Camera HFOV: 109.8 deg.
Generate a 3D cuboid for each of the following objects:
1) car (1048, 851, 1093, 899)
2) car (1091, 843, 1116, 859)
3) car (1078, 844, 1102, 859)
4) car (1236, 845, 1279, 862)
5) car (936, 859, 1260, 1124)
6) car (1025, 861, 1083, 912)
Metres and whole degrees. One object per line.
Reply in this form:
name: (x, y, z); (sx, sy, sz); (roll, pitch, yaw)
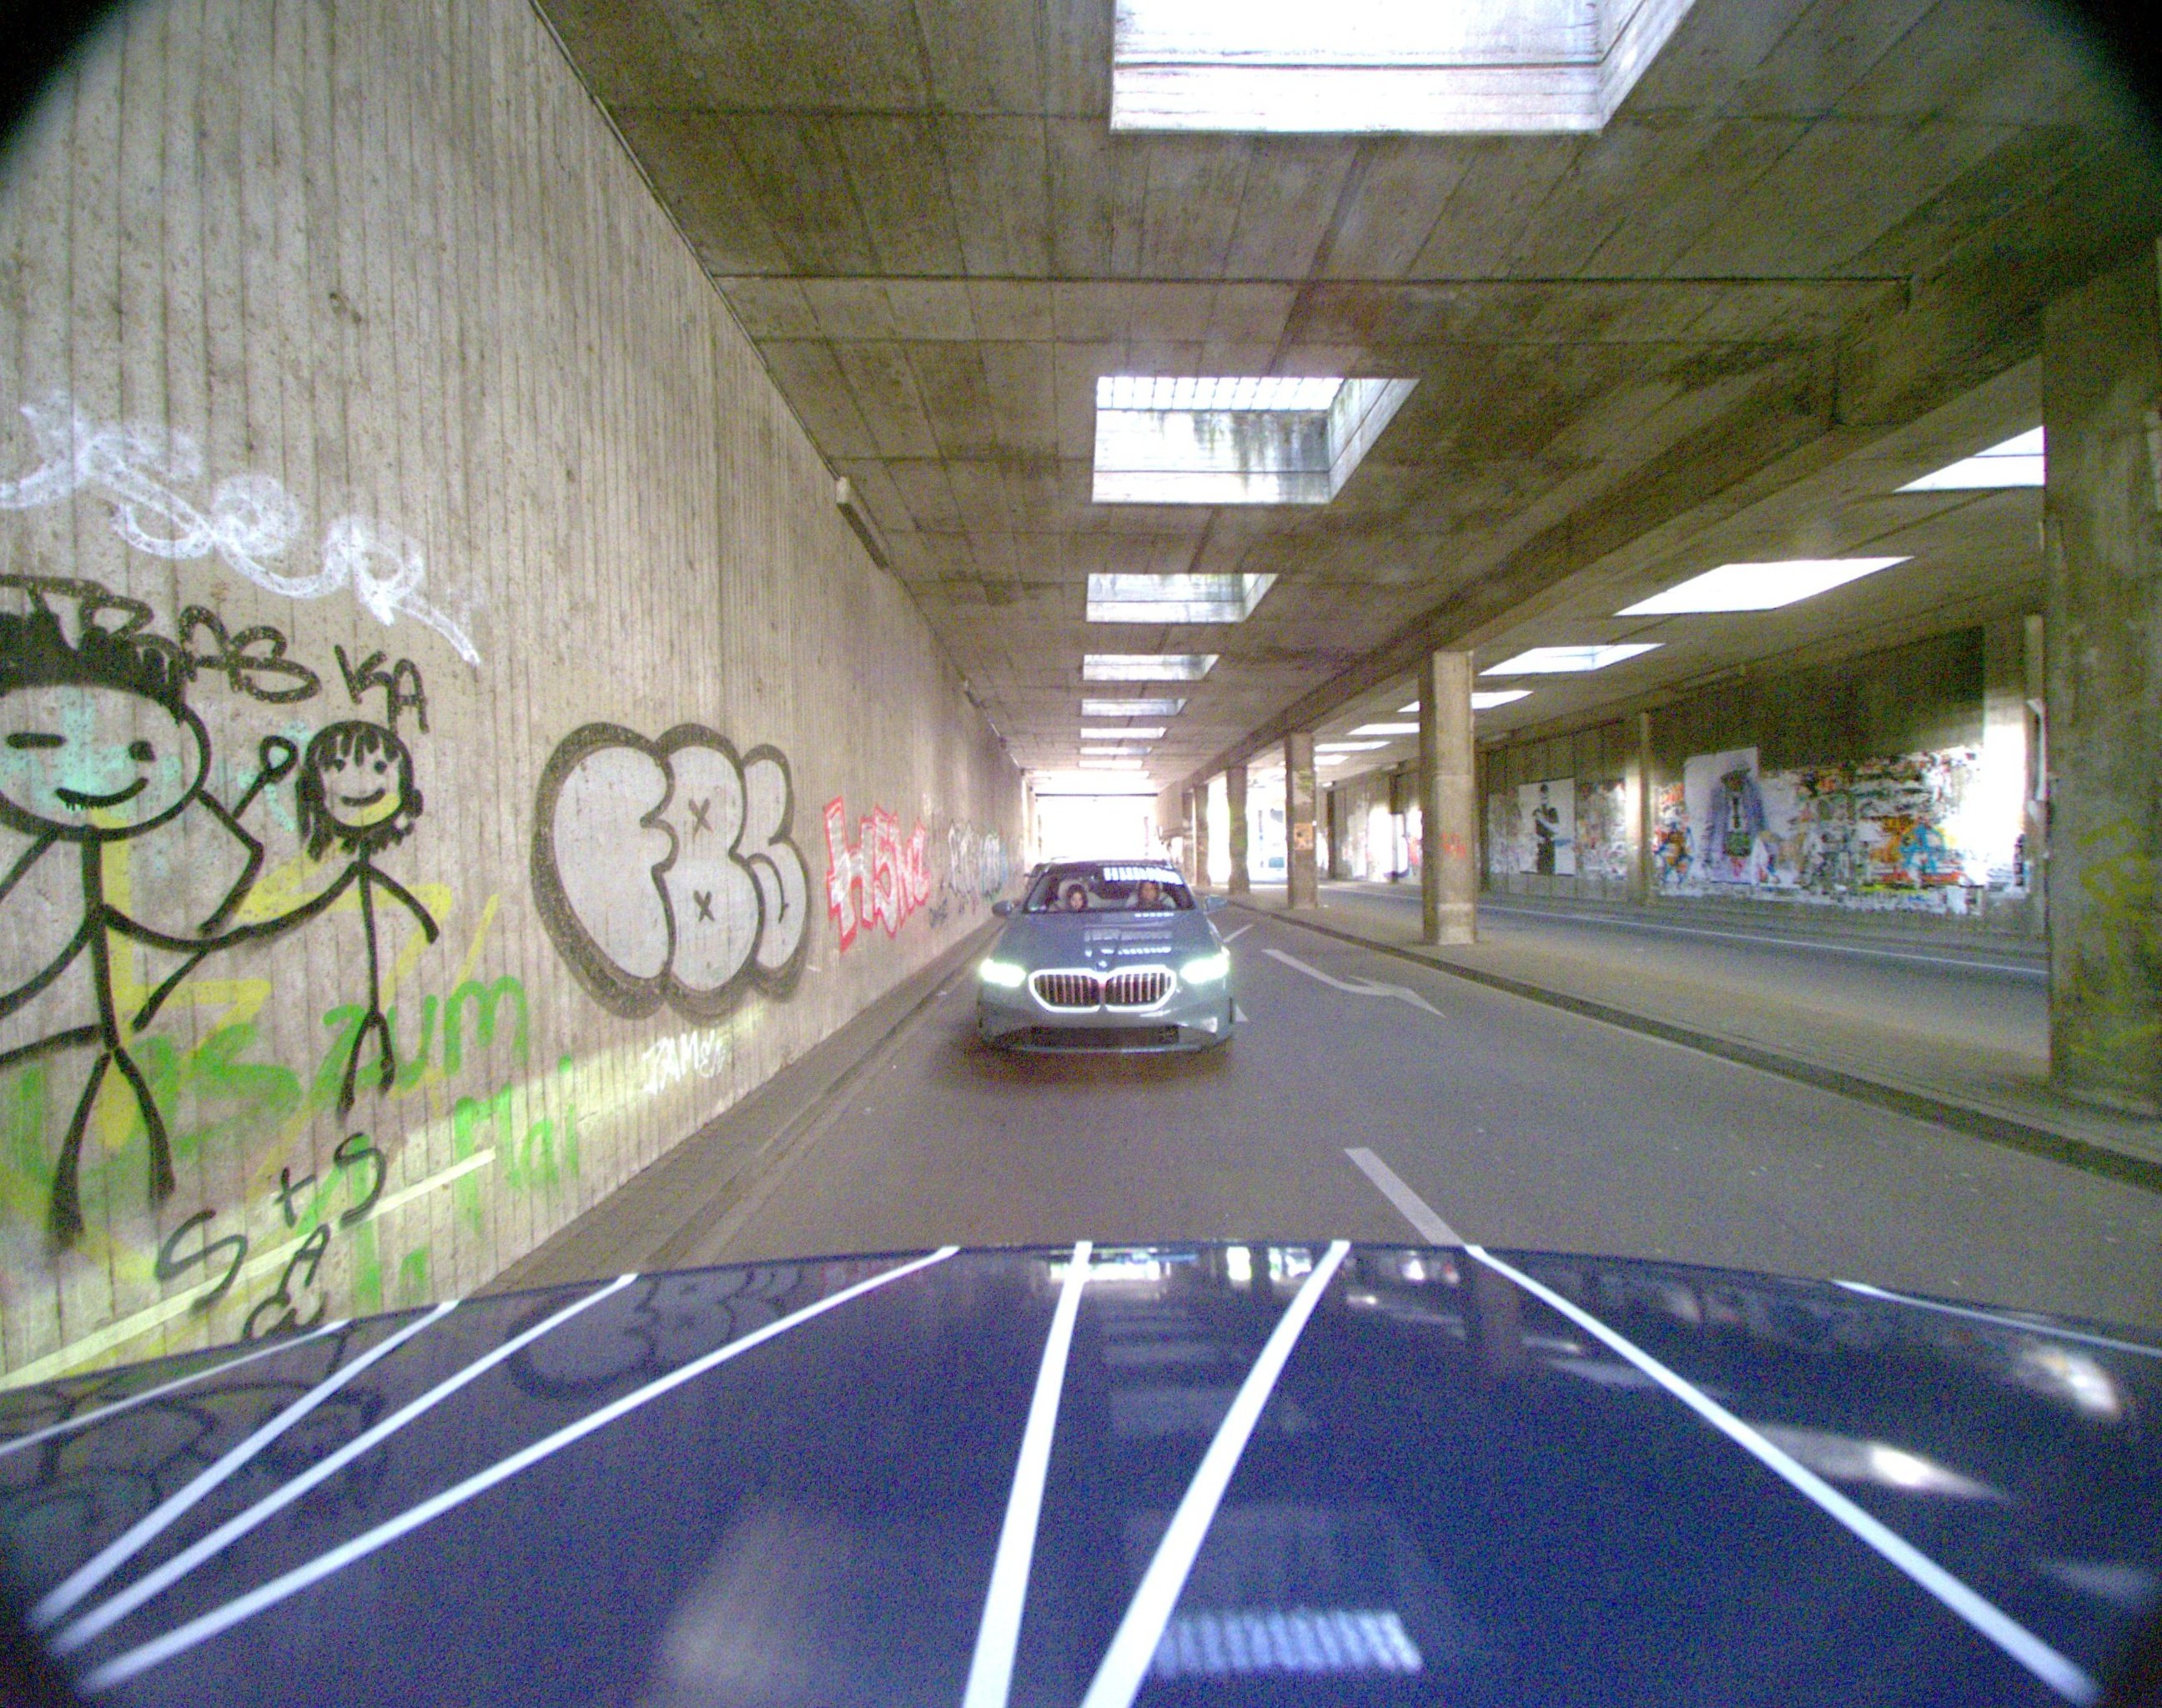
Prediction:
car: (-0.368, 0.766, 29.921); (1.581, 1.676, 4.078); (-2, 0, 1)
car: (2.861, -0.335, 97.552); (2.361, 2.002, 5.146); (-1, 0, -8)
car: (1.207, -0.342, 103.565); (2.361, 2.002, 5.146); (-1, 0, -8)
car: (18.347, -0.022, 79.206); (3.997, 1.696, 2.000); (-1, 0, -1)
car: (0.185, 0.882, 7.340); (1.998, 1.594, 5.176); (-1, 0, 2)
car: (-0.791, 0.948, 23.914); (1.593, 1.387, 3.833); (-2, 0, 1)
